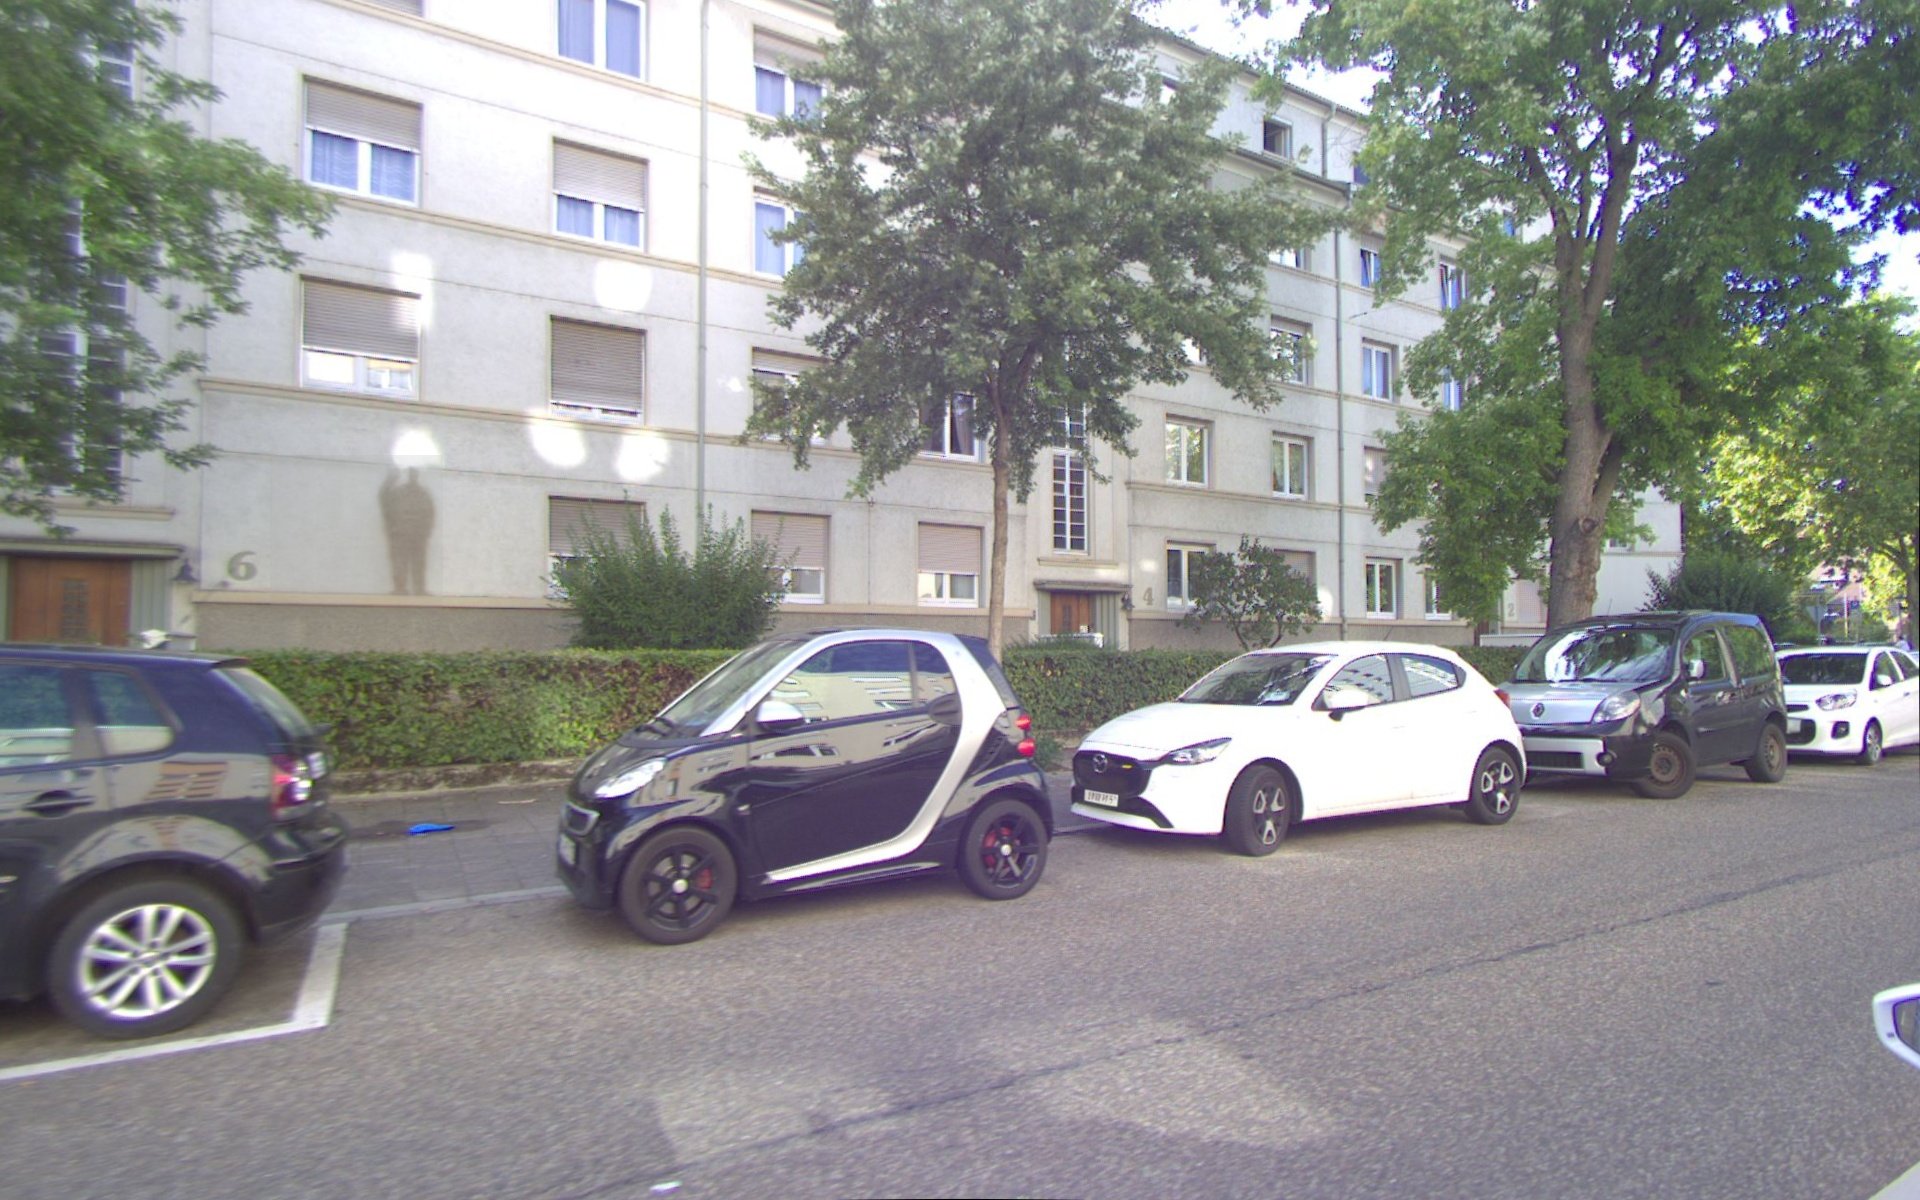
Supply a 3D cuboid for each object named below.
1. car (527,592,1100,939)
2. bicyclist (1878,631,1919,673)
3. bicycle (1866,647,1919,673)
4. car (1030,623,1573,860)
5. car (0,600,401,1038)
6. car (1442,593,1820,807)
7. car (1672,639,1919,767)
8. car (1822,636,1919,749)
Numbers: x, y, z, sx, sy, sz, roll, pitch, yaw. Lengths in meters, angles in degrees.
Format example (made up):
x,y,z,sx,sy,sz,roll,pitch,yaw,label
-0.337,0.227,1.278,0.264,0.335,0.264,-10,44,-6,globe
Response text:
x,y,z,sx,sy,sz,roll,pitch,yaw,label
-0.853,0.829,5.923,2.980,1.539,1.547,1,-5,-30,car
39.228,2.147,41.927,0.800,1.714,1.111,1,-1,-10,bicyclist
39.245,2.504,42.047,0.749,1.007,1.923,1,-2,-10,bicycle
2.837,1.003,8.201,4.277,1.512,1.689,1,-4,-27,car
-4.361,0.804,3.835,3.805,1.506,1.692,2,-5,-32,car
7.243,0.996,10.765,4.144,1.906,1.715,2,-5,-31,car
11.665,1.336,13.638,3.758,1.512,1.792,1,-5,-30,car
15.566,1.420,15.924,3.761,1.641,1.790,2,-5,-32,car
